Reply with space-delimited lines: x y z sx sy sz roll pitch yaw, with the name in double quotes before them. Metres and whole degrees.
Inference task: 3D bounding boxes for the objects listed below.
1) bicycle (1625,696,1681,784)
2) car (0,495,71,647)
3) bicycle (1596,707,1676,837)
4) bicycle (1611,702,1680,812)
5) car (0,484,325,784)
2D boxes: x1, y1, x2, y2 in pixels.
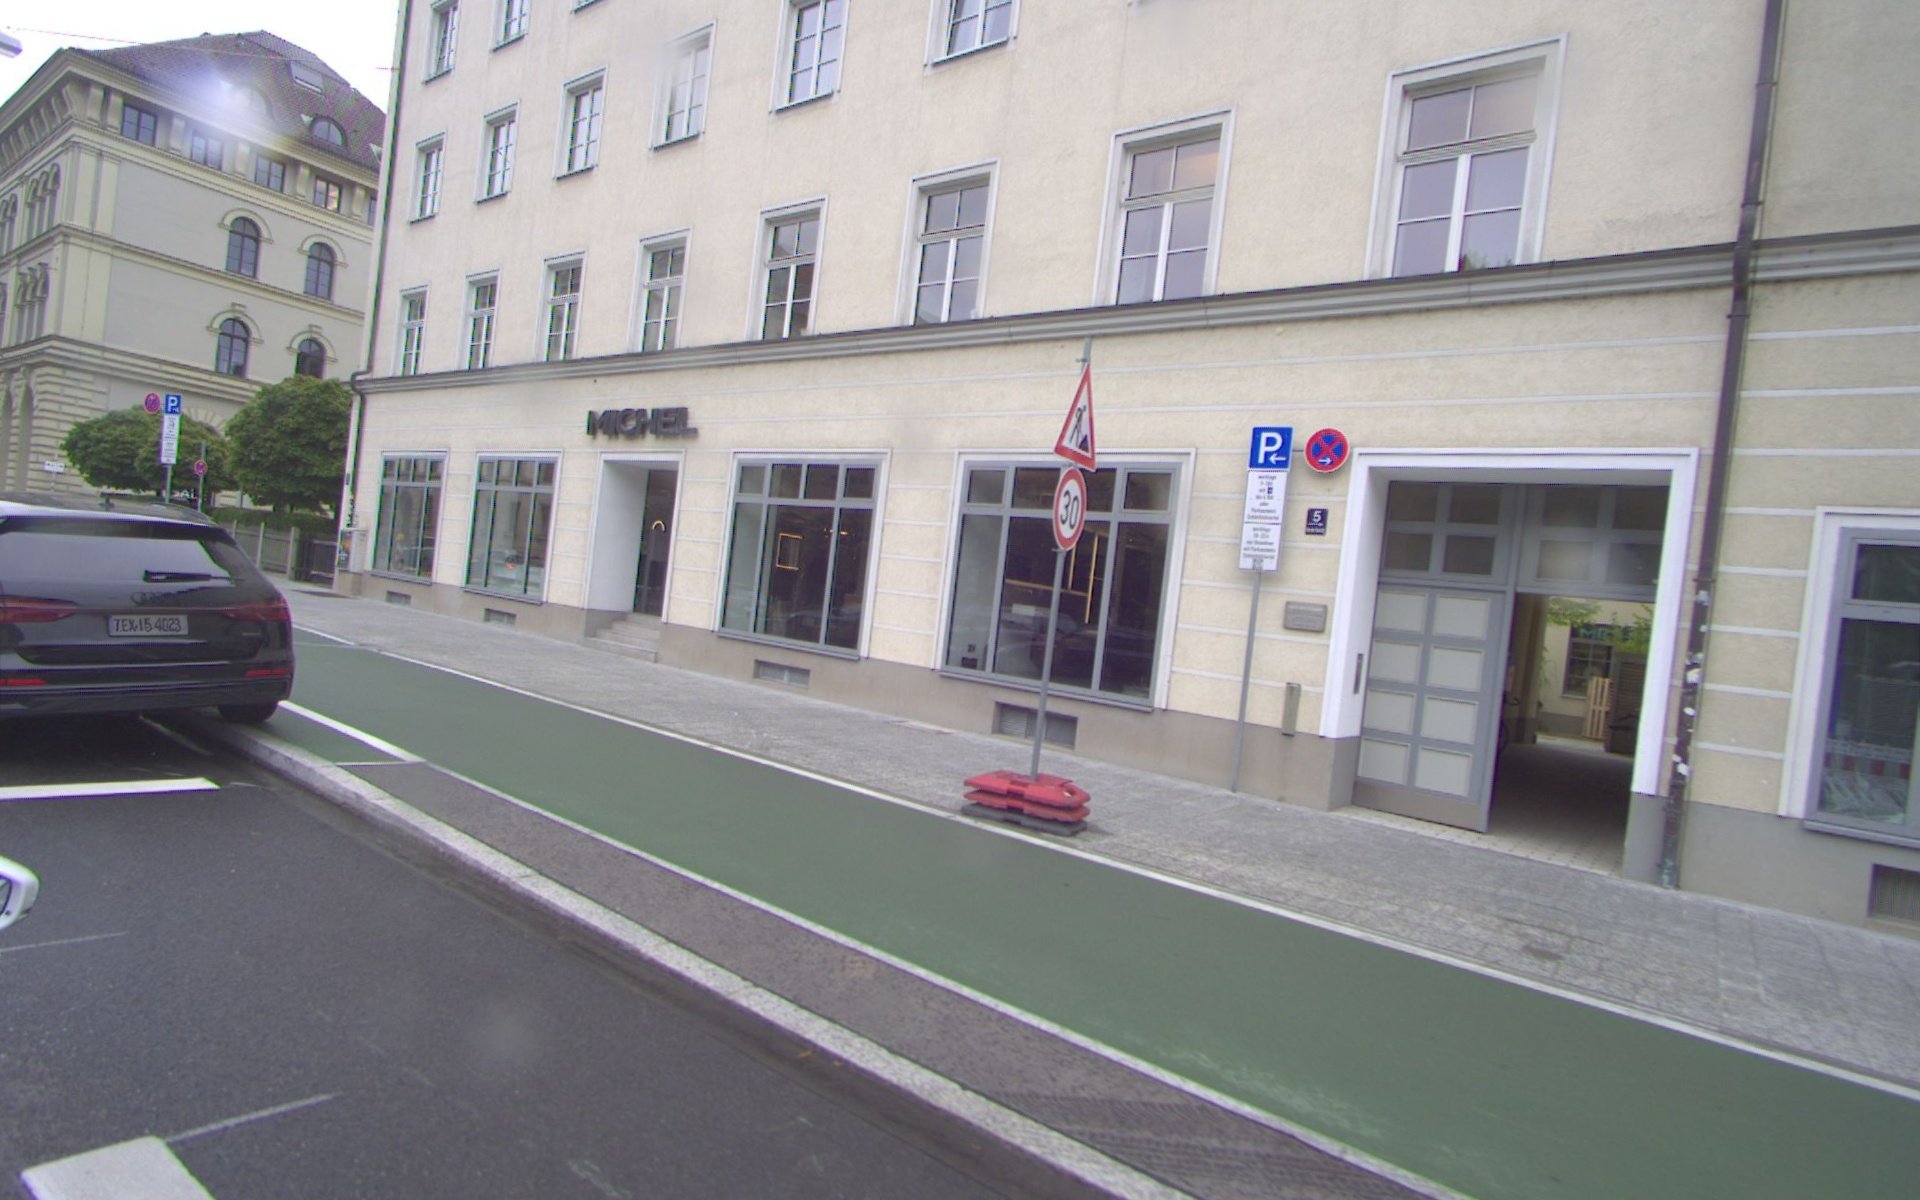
"bicycle" 10.724 2.121 15.570 0.549 1.192 1.927 7 1 35
"car" -11.416 -0.545 10.895 4.649 1.424 1.826 7 -1 39
"bicycle" 7.466 1.832 11.090 0.549 1.192 2.025 7 1 35
"bicycle" 8.709 1.938 12.768 0.549 1.192 1.927 7 1 35
"car" -6.359 0.001 6.960 4.392 1.501 1.806 7 4 36
